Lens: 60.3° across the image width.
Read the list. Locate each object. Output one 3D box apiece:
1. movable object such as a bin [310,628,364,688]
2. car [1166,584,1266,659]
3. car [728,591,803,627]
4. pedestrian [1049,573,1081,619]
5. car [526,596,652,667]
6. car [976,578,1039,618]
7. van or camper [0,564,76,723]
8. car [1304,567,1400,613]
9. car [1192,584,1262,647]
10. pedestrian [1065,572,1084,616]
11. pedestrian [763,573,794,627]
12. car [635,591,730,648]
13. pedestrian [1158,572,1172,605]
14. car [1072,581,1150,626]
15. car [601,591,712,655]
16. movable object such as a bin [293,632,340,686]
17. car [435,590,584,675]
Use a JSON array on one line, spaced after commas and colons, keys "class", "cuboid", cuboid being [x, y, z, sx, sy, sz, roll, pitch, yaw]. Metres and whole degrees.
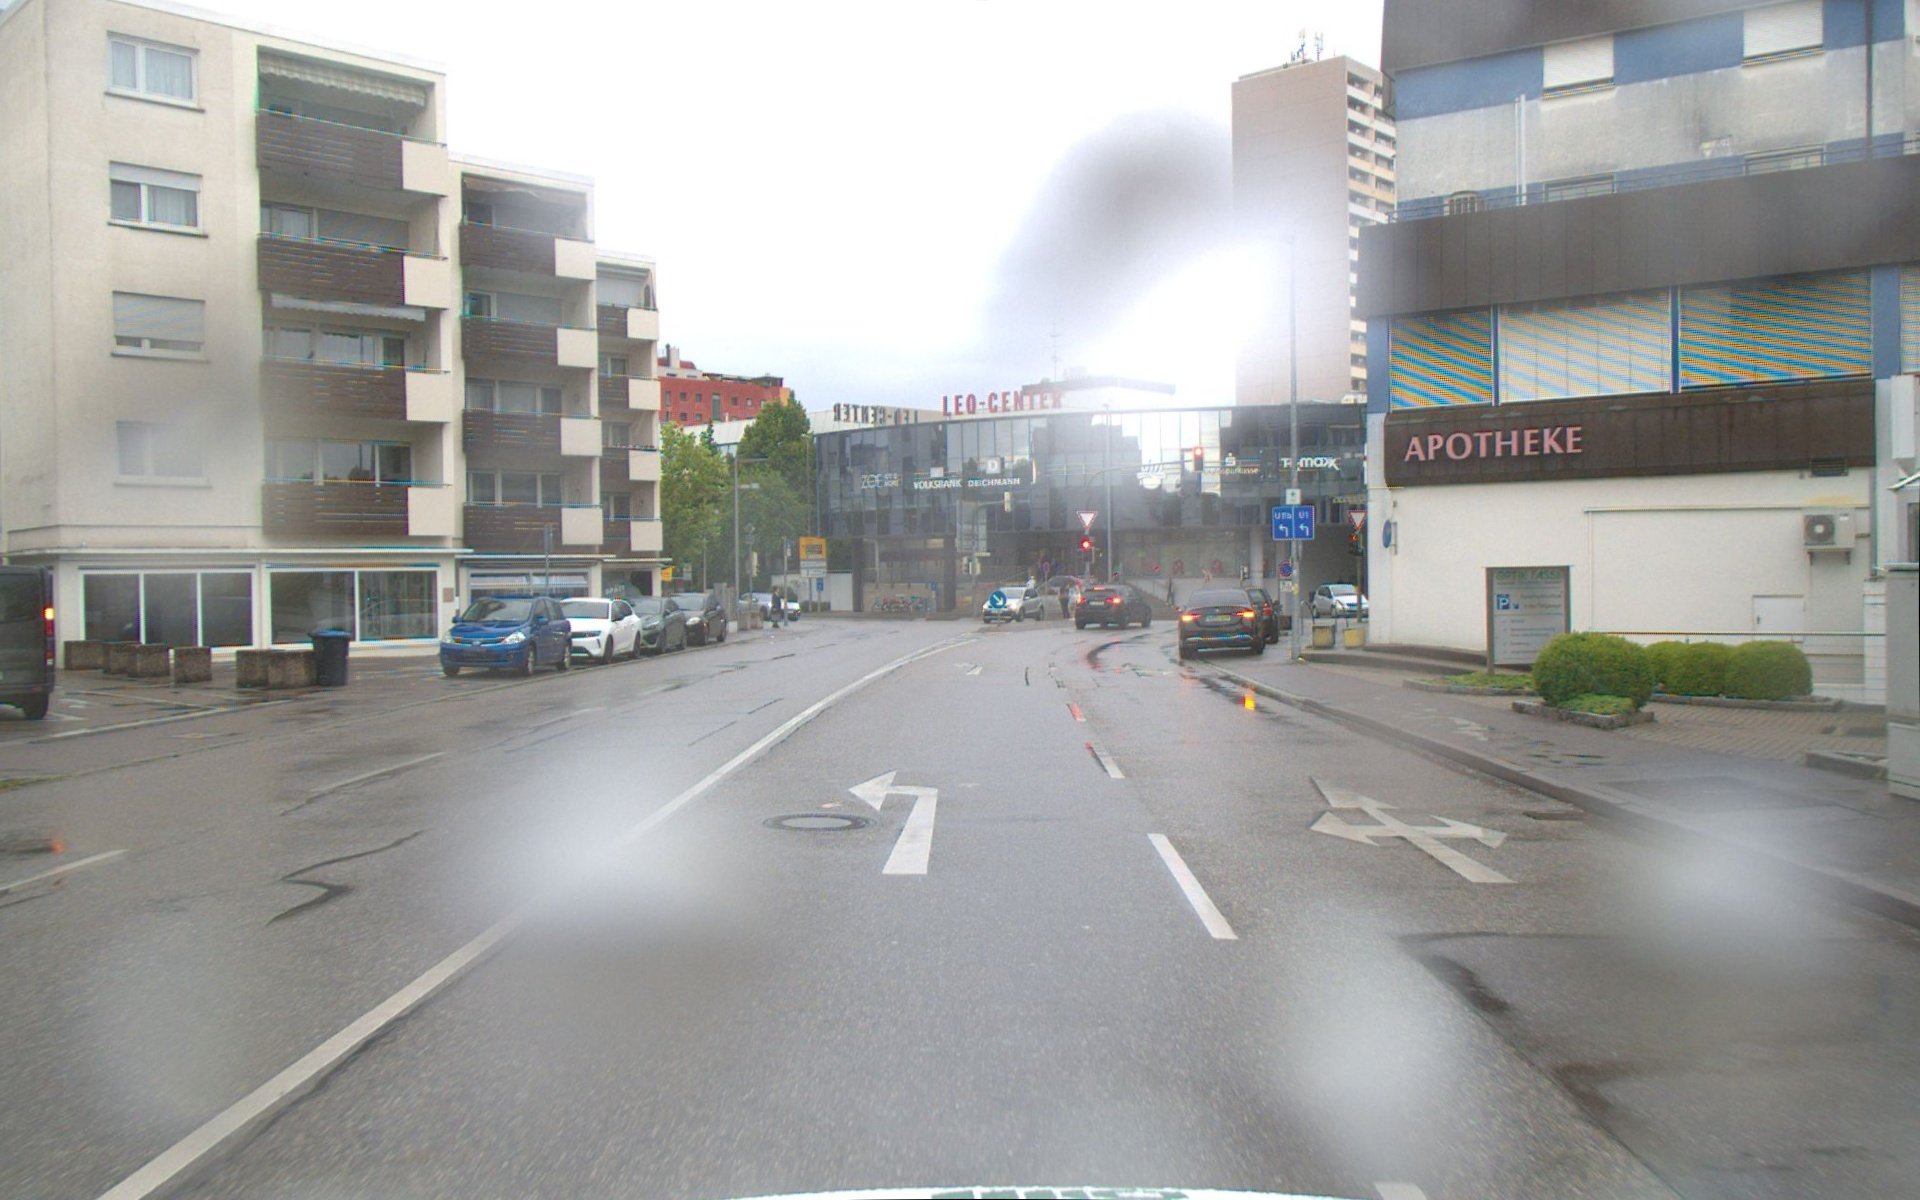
[{"class": "movable object such as a bin", "cuboid": [-10.739, 0.992, 28.521, 0.634, 0.982, 0.683, -1, 0, 2]}, {"class": "car", "cuboid": [5.763, 0.468, 36.783, 1.951, 1.560, 4.651, 0, -1, 12]}, {"class": "car", "cuboid": [-9.998, 0.439, 84.899, 1.977, 1.538, 4.381, 2, 2, -35]}, {"class": "pedestrian", "cuboid": [4.012, -0.155, 63.337, 0.897, 1.688, 0.749, 2, 1, -25]}, {"class": "car", "cuboid": [-8.531, 0.681, 38.449, 1.658, 1.489, 4.686, -1, 1, 3]}, {"class": "car", "cuboid": [2.020, -0.098, 69.037, 1.786, 1.464, 3.844, -2, 1, 14]}, {"class": "van or camper", "cuboid": [-13.777, 0.514, 22.402, 1.983, 1.958, 5.138, -3, 3, -42]}, {"class": "car", "cuboid": [18.220, -0.459, 77.011, 1.982, 2.049, 3.941, -1, 0, -40]}, {"class": "car", "cuboid": [7.342, 0.384, 45.217, 1.662, 1.512, 4.004, -4, 0, 11]}, {"class": "pedestrian", "cuboid": [4.447, -0.233, 64.252, 0.597, 1.688, 0.672, 3, 1, -3]}, {"class": "pedestrian", "cuboid": [-7.053, 0.016, 64.311, 0.733, 2.048, 0.921, 3, 0, 23]}, {"class": "car", "cuboid": [-8.184, 0.537, 49.146, 1.894, 1.568, 4.274, -1, 1, 3]}, {"class": "pedestrian", "cuboid": [12.966, -0.712, 104.365, 0.770, 2.049, 0.671, -1, 0, 12]}, {"class": "car", "cuboid": [5.163, 0.090, 56.138, 1.767, 1.444, 4.002, -1, 0, 19]}, {"class": "car", "cuboid": [-7.956, 0.553, 43.776, 1.894, 1.568, 4.523, -1, 1, 3]}, {"class": "movable object such as a bin", "cuboid": [-11.338, 1.038, 29.144, 0.562, 0.918, 0.598, -1, 0, 2]}, {"class": "car", "cuboid": [-8.868, 0.585, 32.890, 1.617, 1.547, 4.326, -1, 1, 2]}]
